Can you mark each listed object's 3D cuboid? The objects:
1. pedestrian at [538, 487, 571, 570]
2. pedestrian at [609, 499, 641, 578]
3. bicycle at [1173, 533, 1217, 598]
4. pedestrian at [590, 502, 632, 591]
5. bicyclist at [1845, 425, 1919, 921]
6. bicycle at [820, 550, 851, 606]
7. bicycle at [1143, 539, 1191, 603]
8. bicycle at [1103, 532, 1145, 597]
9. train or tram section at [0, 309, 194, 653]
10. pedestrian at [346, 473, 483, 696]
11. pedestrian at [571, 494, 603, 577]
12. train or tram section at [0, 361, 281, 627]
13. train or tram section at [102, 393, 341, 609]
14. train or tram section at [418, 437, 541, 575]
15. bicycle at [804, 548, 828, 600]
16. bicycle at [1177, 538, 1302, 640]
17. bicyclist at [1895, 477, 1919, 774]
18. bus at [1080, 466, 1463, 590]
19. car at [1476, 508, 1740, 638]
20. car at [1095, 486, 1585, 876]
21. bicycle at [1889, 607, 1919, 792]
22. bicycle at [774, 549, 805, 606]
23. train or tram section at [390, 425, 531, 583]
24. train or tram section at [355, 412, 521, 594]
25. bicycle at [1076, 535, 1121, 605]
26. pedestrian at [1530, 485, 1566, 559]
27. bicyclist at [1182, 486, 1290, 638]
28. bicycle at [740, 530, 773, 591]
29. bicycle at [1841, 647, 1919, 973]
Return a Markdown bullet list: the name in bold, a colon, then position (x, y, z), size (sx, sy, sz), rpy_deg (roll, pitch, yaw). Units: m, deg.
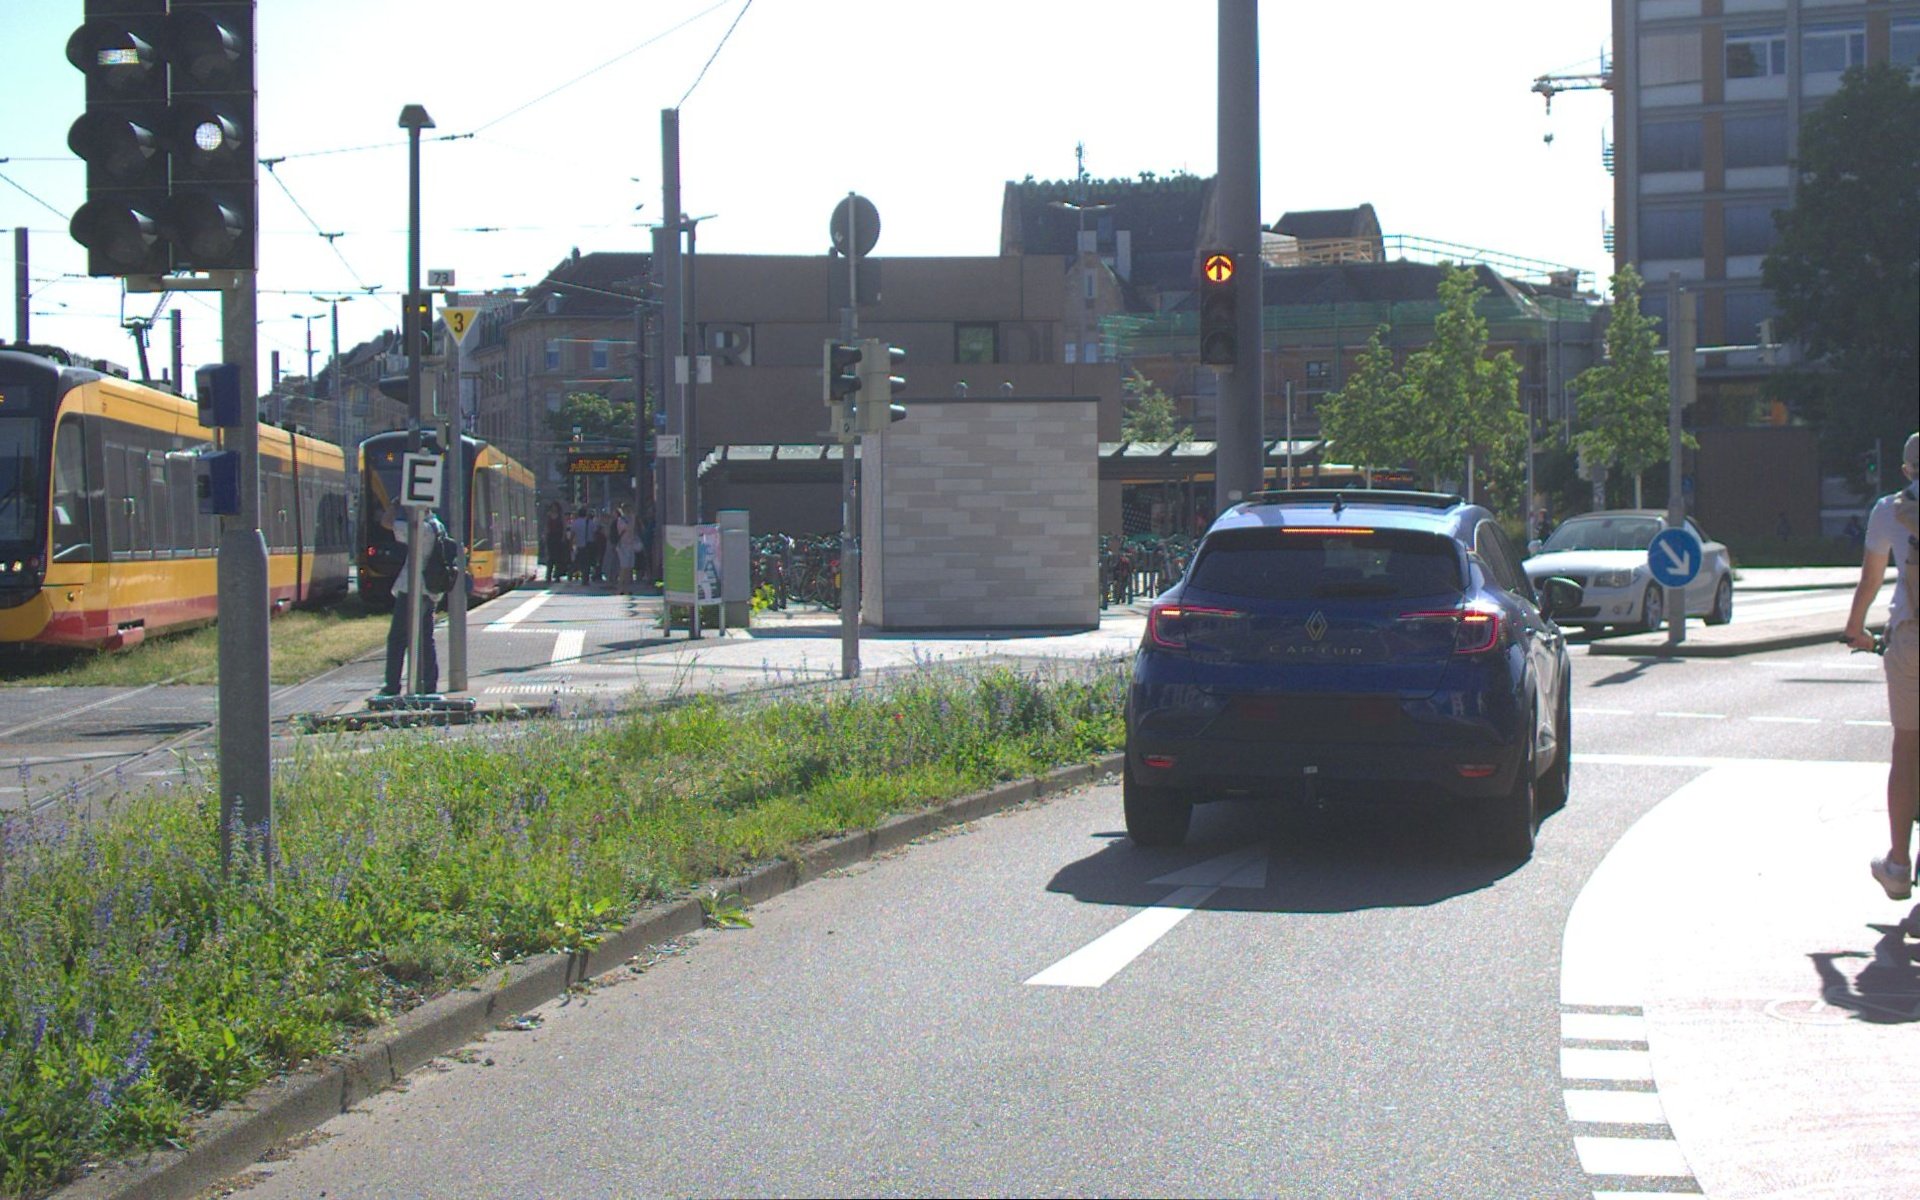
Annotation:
- **pedestrian**: position (-9.428, -1.673, 79.917), size (0.740, 1.911, 0.742), rpy_deg (1, 2, -6)
- **pedestrian**: position (-7.927, -1.454, 81.402), size (0.673, 1.850, 0.703), rpy_deg (1, 0, 0)
- **bicycle**: position (3.994, -0.578, 58.524), size (0.580, 1.084, 2.059), rpy_deg (1, 0, -1)
- **pedestrian**: position (-7.440, -1.140, 73.194), size (0.847, 1.877, 0.761), rpy_deg (1, 0, -7)
- **bicyclist**: position (3.578, 0.246, 12.525), size (0.664, 1.741, 1.005), rpy_deg (0, 1, 15)
- **bicycle**: position (-2.126, -0.379, 58.635), size (0.421, 0.934, 1.306), rpy_deg (1, 1, -7)
- **bicycle**: position (3.177, -0.444, 52.854), size (0.580, 0.958, 2.059), rpy_deg (1, 0, -1)
- **bicycle**: position (2.787, -0.595, 58.633), size (0.580, 1.084, 2.059), rpy_deg (1, 0, -1)
- **train or tram section**: position (-10.990, -1.317, 40.146), size (2.817, 3.496, 10.482), rpy_deg (-1, 1, -6)
- **pedestrian**: position (-4.544, -0.127, 28.620), size (1.016, 1.826, 0.761), rpy_deg (1, 0, -16)
- **pedestrian**: position (-8.329, -1.433, 76.820), size (0.632, 1.850, 0.703), rpy_deg (1, 0, -11)
- **train or tram section**: position (-12.031, -1.519, 50.709), size (2.816, 3.496, 10.613), rpy_deg (0, 1, -5)
- **train or tram section**: position (-13.026, -1.731, 61.569), size (2.816, 3.496, 11.213), rpy_deg (0, 1, -5)
- **train or tram section**: position (-12.812, -2.511, 92.317), size (2.870, 3.496, 10.546), rpy_deg (0, 1, -6)
- **bicycle**: position (-2.657, -0.488, 63.454), size (0.421, 0.934, 1.379), rpy_deg (1, 1, -3)
- **bicycle**: position (3.080, -0.133, 37.713), size (0.774, 1.077, 2.033), rpy_deg (-1, 1, 22)
- **bicyclist**: position (5.652, 0.133, 19.120), size (0.722, 1.620, 1.054), rpy_deg (1, 2, 22)
- **bus**: position (8.826, -2.049, 99.644), size (2.874, 3.384, 12.441), rpy_deg (1, 0, -42)
- **car**: position (7.429, -0.340, 39.123), size (1.803, 1.388, 4.087), rpy_deg (0, 1, 28)
- **car**: position (1.910, 0.287, 16.301), size (1.824, 1.594, 3.656), rpy_deg (1, 2, 14)
- **bicycle**: position (5.713, 0.535, 19.298), size (0.723, 0.956, 1.882), rpy_deg (1, 2, 22)
- **bicycle**: position (-2.906, -0.387, 58.415), size (0.421, 0.934, 1.306), rpy_deg (1, 1, -7)
- **train or tram section**: position (-11.768, -2.248, 81.749), size (2.870, 3.496, 10.545), rpy_deg (0, 1, -6)
- **train or tram section**: position (-10.680, -1.971, 71.190), size (2.870, 3.496, 10.545), rpy_deg (0, 1, -6)
- **bicycle**: position (2.117, -0.457, 52.634), size (0.580, 1.054, 1.816), rpy_deg (1, 0, -1)
- **pedestrian**: position (14.743, -1.950, 86.218), size (0.725, 1.850, 0.703), rpy_deg (1, 0, -2)
- **bicyclist**: position (3.041, -0.417, 37.774), size (0.881, 1.639, 1.059), rpy_deg (-1, 1, 23)
- **bicycle**: position (-3.731, -0.722, 63.173), size (0.566, 1.090, 2.029), rpy_deg (1, 0, -3)
- **bicycle**: position (3.602, 0.733, 12.663), size (0.663, 1.043, 1.889), rpy_deg (0, 1, 15)
